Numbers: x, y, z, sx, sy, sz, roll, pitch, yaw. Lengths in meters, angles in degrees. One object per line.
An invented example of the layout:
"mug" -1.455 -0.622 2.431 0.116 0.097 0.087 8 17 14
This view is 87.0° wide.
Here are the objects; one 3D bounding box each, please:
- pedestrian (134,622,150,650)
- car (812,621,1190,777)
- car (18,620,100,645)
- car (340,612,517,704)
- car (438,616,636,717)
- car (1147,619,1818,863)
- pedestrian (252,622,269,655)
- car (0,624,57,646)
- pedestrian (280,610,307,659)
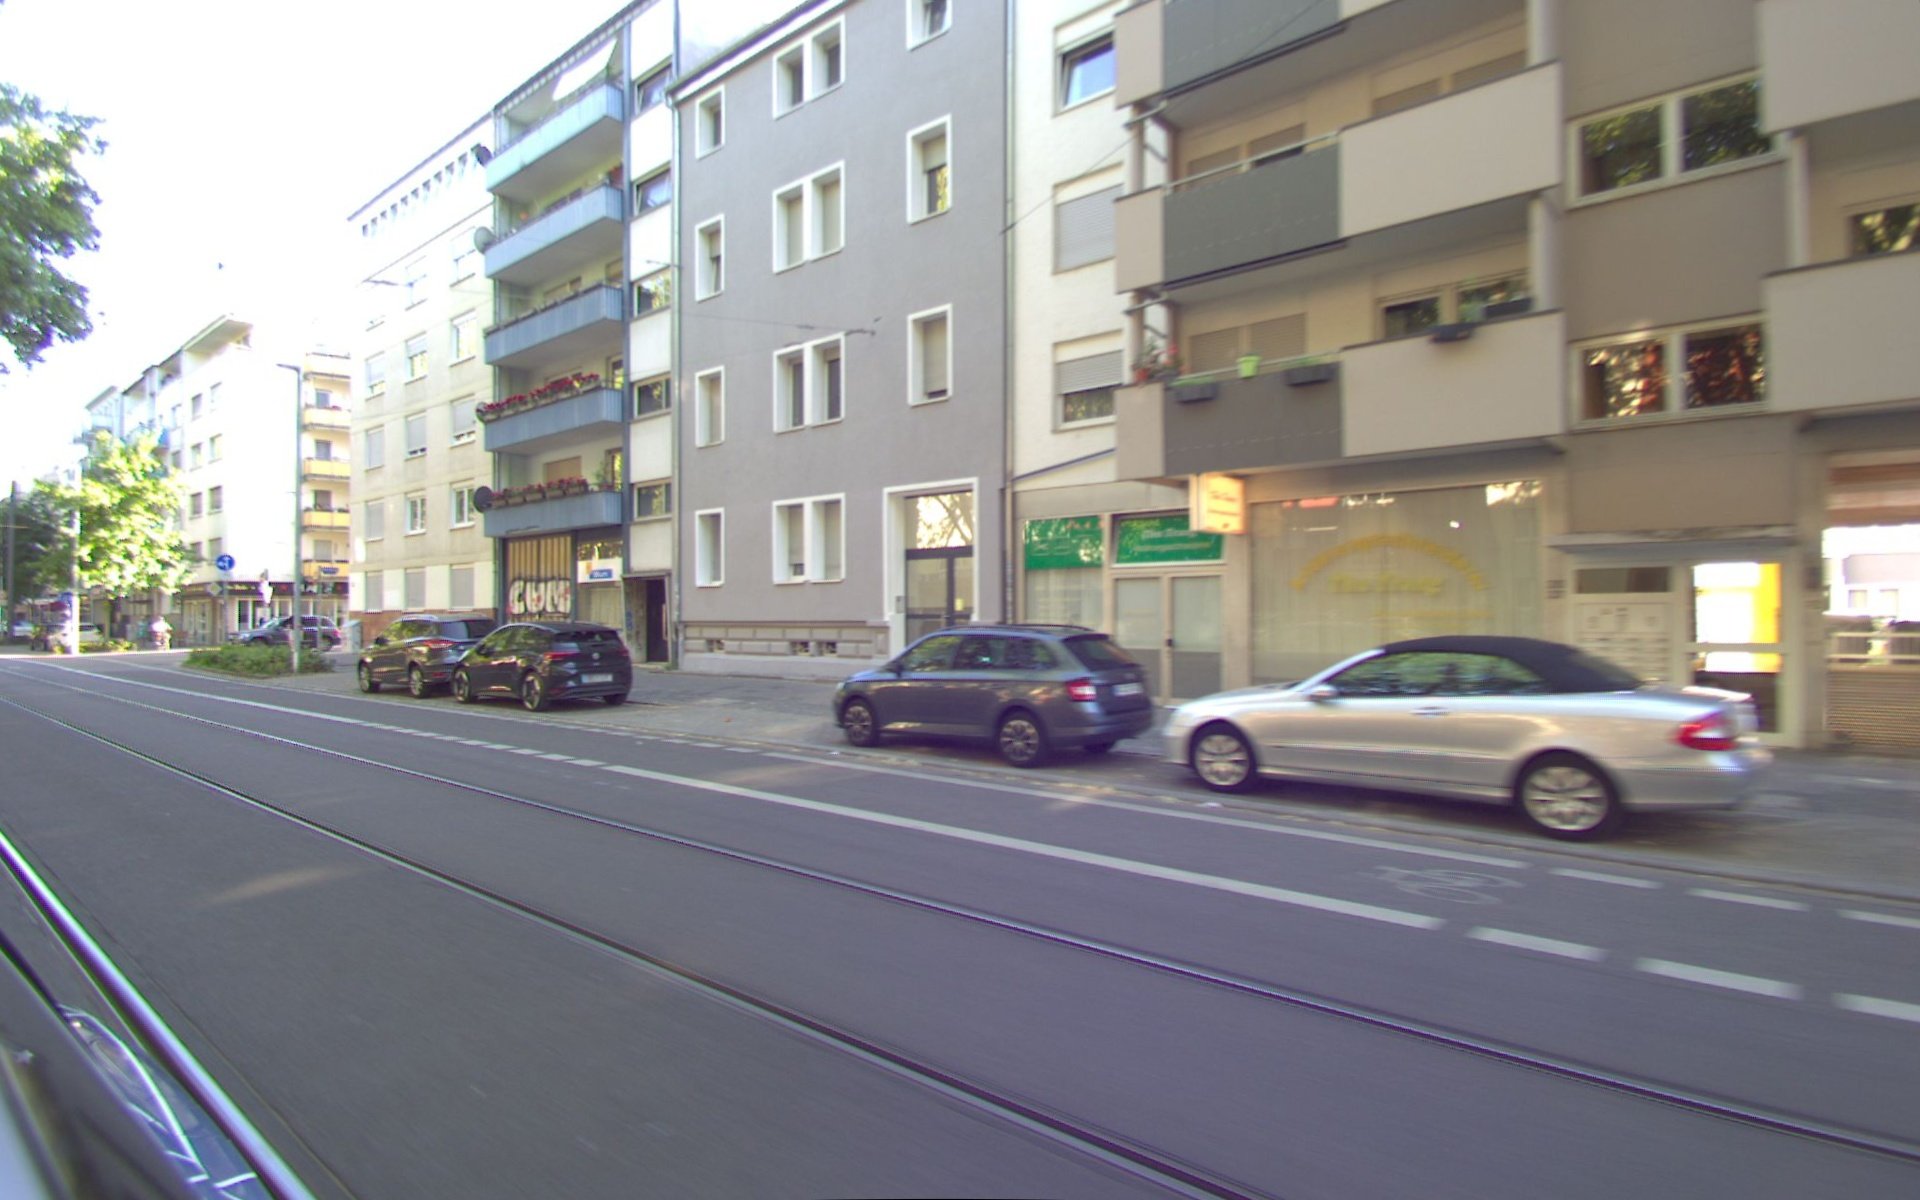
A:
"pedestrian" -44.340 1.956 54.864 0.655 1.516 0.588 -1 0 41
"car" 0.349 1.007 11.848 4.237 1.502 1.775 -1 -2 40
"car" -58.341 2.071 65.554 1.587 1.535 3.899 -2 -2 45
"car" -11.618 1.182 22.009 4.485 1.751 1.762 -1 0 39
"car" -7.903 1.147 18.741 4.199 1.612 1.639 -1 0 40
"car" 4.047 0.922 8.471 4.727 1.502 1.671 -1 -2 42
"pedestrian" -33.132 1.818 47.936 0.587 1.516 0.656 -1 0 -41
"car" -68.926 2.544 74.280 1.587 1.535 3.899 -2 -2 45
"pedestrian" -26.590 1.366 40.371 0.762 1.913 0.800 -1 0 -41
